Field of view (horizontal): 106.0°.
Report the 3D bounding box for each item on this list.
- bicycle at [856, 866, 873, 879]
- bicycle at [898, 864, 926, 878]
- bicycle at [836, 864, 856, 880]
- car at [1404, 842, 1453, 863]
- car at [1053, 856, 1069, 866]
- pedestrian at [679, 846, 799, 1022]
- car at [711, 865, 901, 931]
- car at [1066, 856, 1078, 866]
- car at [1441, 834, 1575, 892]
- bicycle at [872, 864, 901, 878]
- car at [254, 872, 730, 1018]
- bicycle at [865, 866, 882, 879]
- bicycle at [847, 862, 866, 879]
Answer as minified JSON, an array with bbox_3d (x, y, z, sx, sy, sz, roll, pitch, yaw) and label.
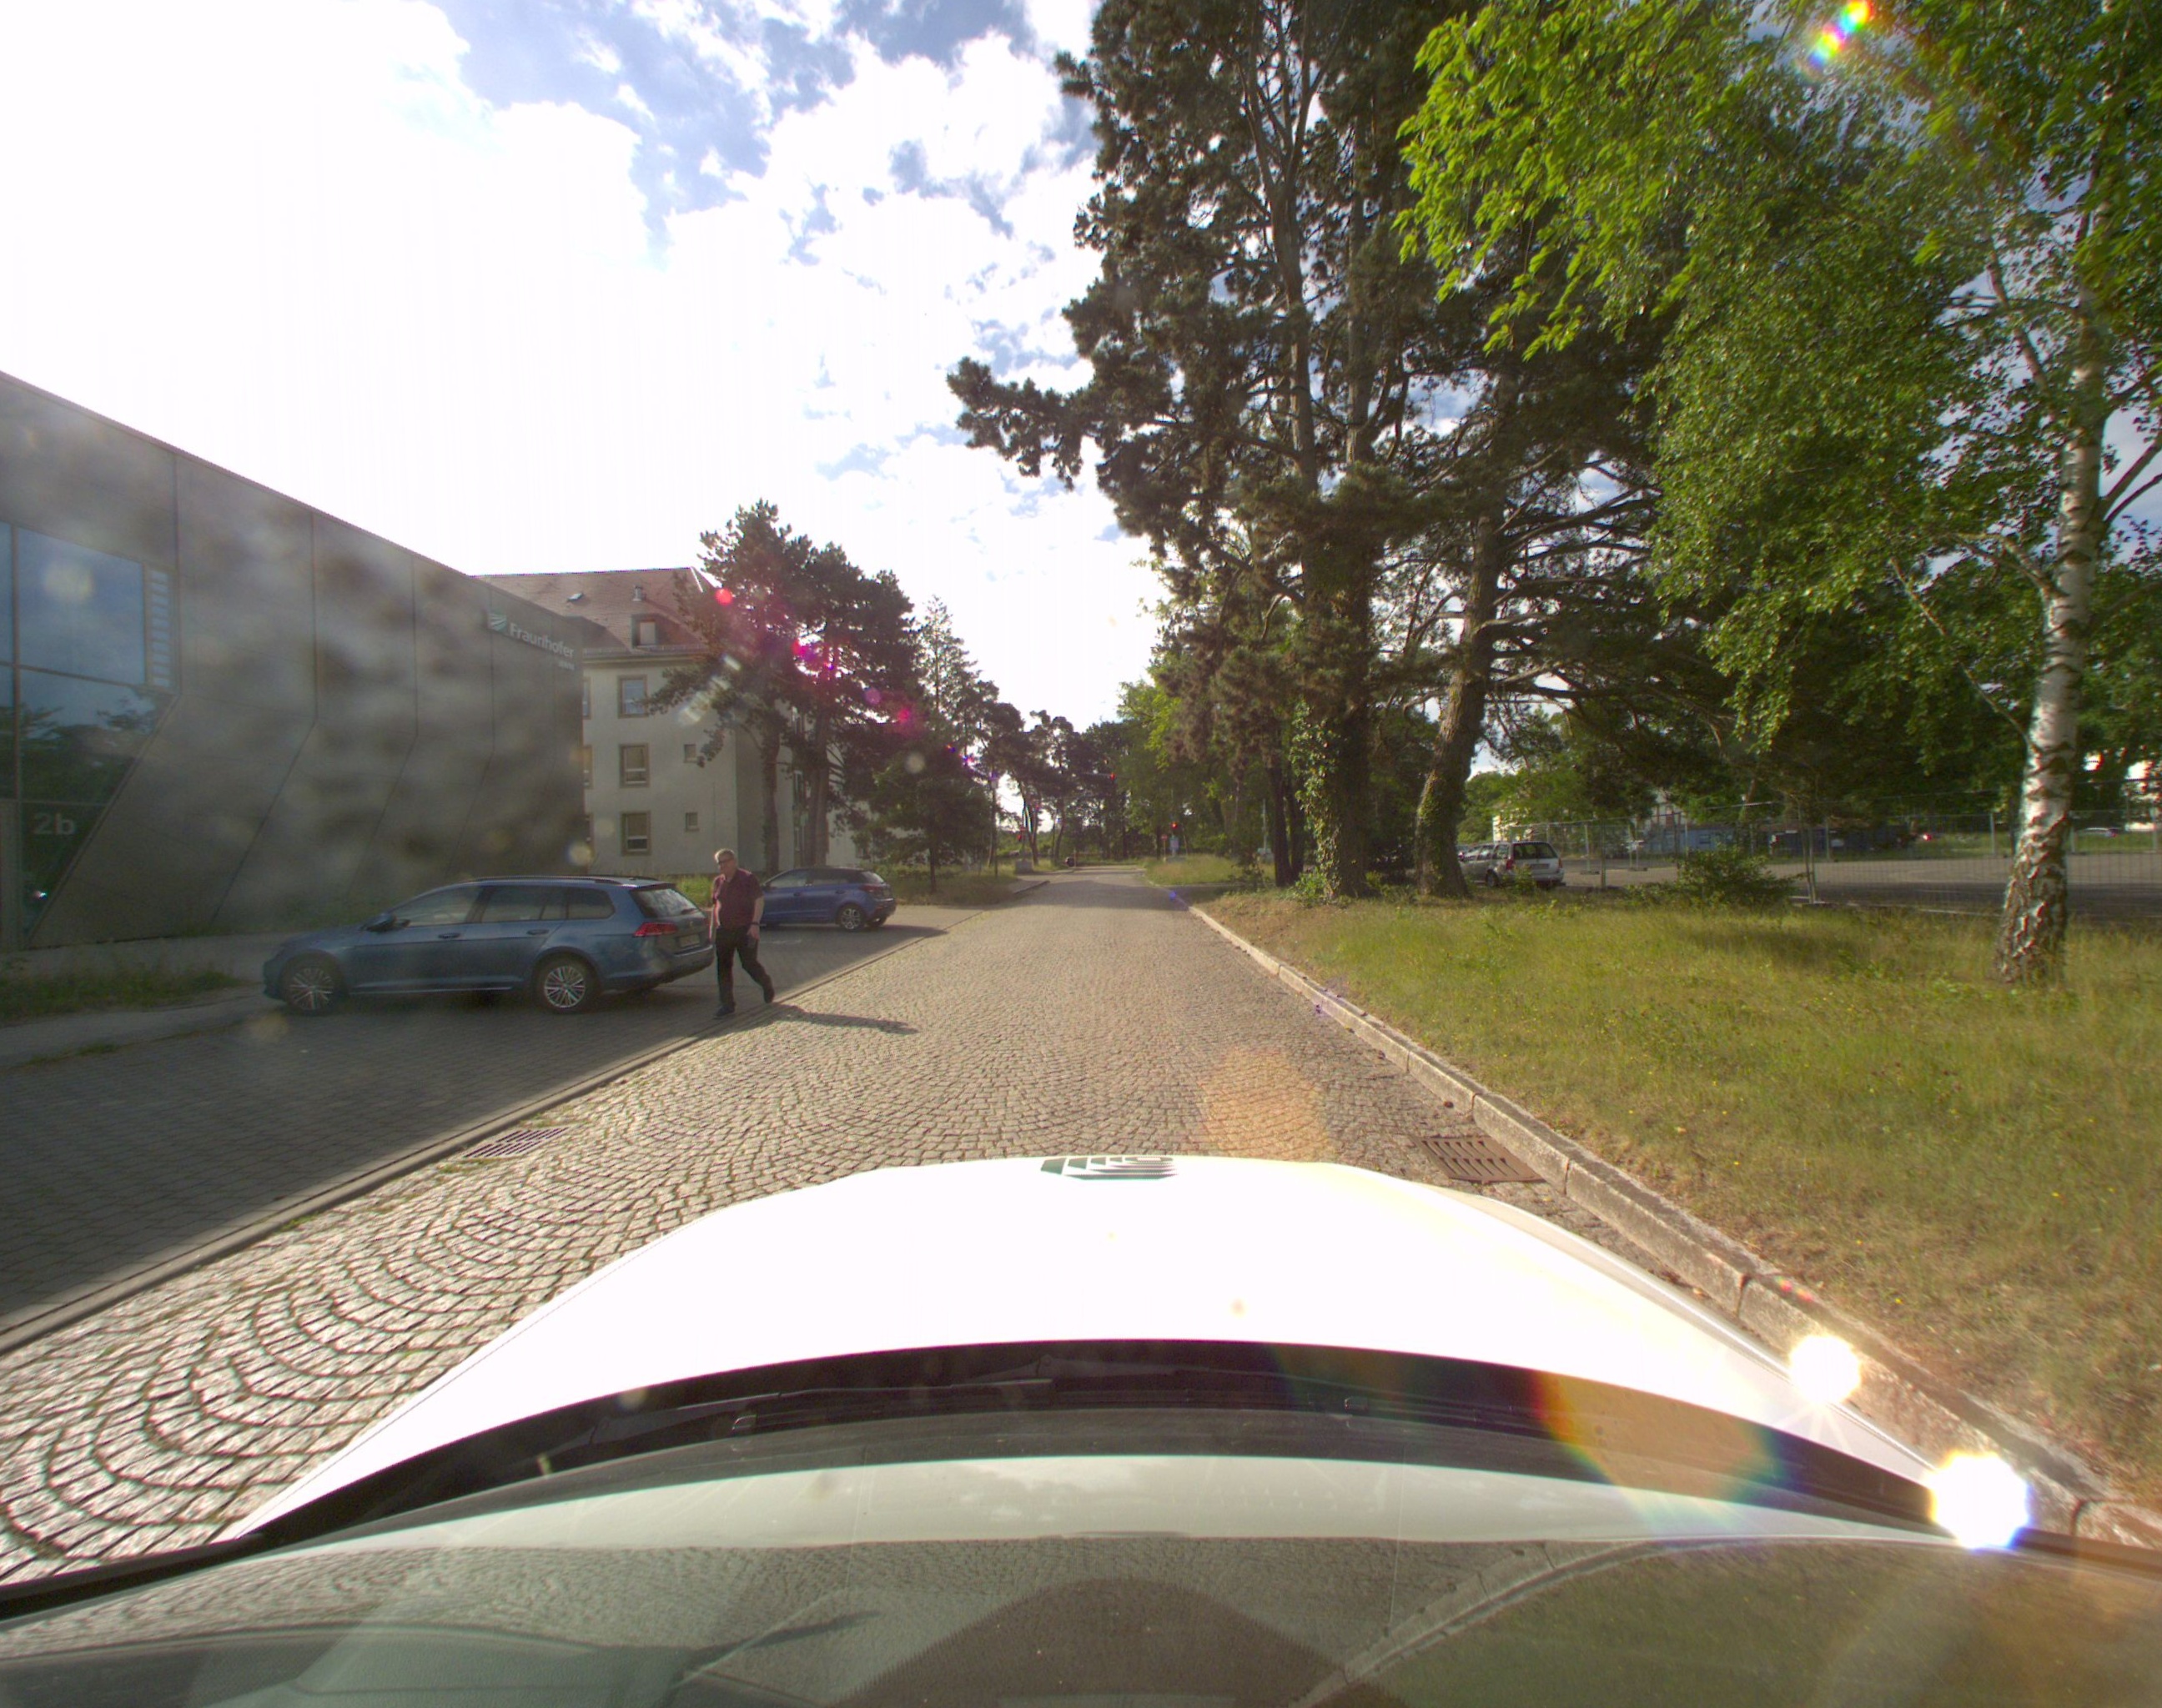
[{"bbox_3d":[-18.410,1.585,69.240,0.823,1.047,2.125,-2,0,2],"label":"bicycle"},{"bbox_3d":[-14.104,1.410,68.026,2.111,1.047,0.828,-2,0,-2],"label":"bicycle"},{"bbox_3d":[-19.973,1.482,69.317,0.823,1.281,2.555,-2,0,2],"label":"bicycle"},{"bbox_3d":[25.980,-0.117,61.083,1.726,1.476,4.329,-2,0,-1],"label":"car"},{"bbox_3d":[-3.199,1.136,130.024,1.772,1.490,3.765,-2,0,9],"label":"car"},{"bbox_3d":[-3.708,0.822,8.942,0.802,1.771,1.152,-2,0,-2],"label":"pedestrian"},{"bbox_3d":[-6.352,0.998,19.079,3.819,1.464,1.721,0,0,3],"label":"car"},{"bbox_3d":[-1.374,1.019,125.206,1.839,1.486,3.999,-2,0,0],"label":"car"},{"bbox_3d":[12.127,0.253,23.446,1.663,1.467,3.997,-2,0,-2],"label":"car"},{"bbox_3d":[-16.226,1.431,67.981,2.111,1.108,0.828,-2,0,-2],"label":"bicycle"},{"bbox_3d":[-6.594,0.979,9.475,4.244,1.464,1.680,0,1,-1],"label":"car"},{"bbox_3d":[-17.628,1.578,69.265,0.823,1.047,2.125,-2,0,2],"label":"bicycle"},{"bbox_3d":[-19.193,1.385,69.601,0.823,1.437,2.555,-2,0,2],"label":"bicycle"}]
